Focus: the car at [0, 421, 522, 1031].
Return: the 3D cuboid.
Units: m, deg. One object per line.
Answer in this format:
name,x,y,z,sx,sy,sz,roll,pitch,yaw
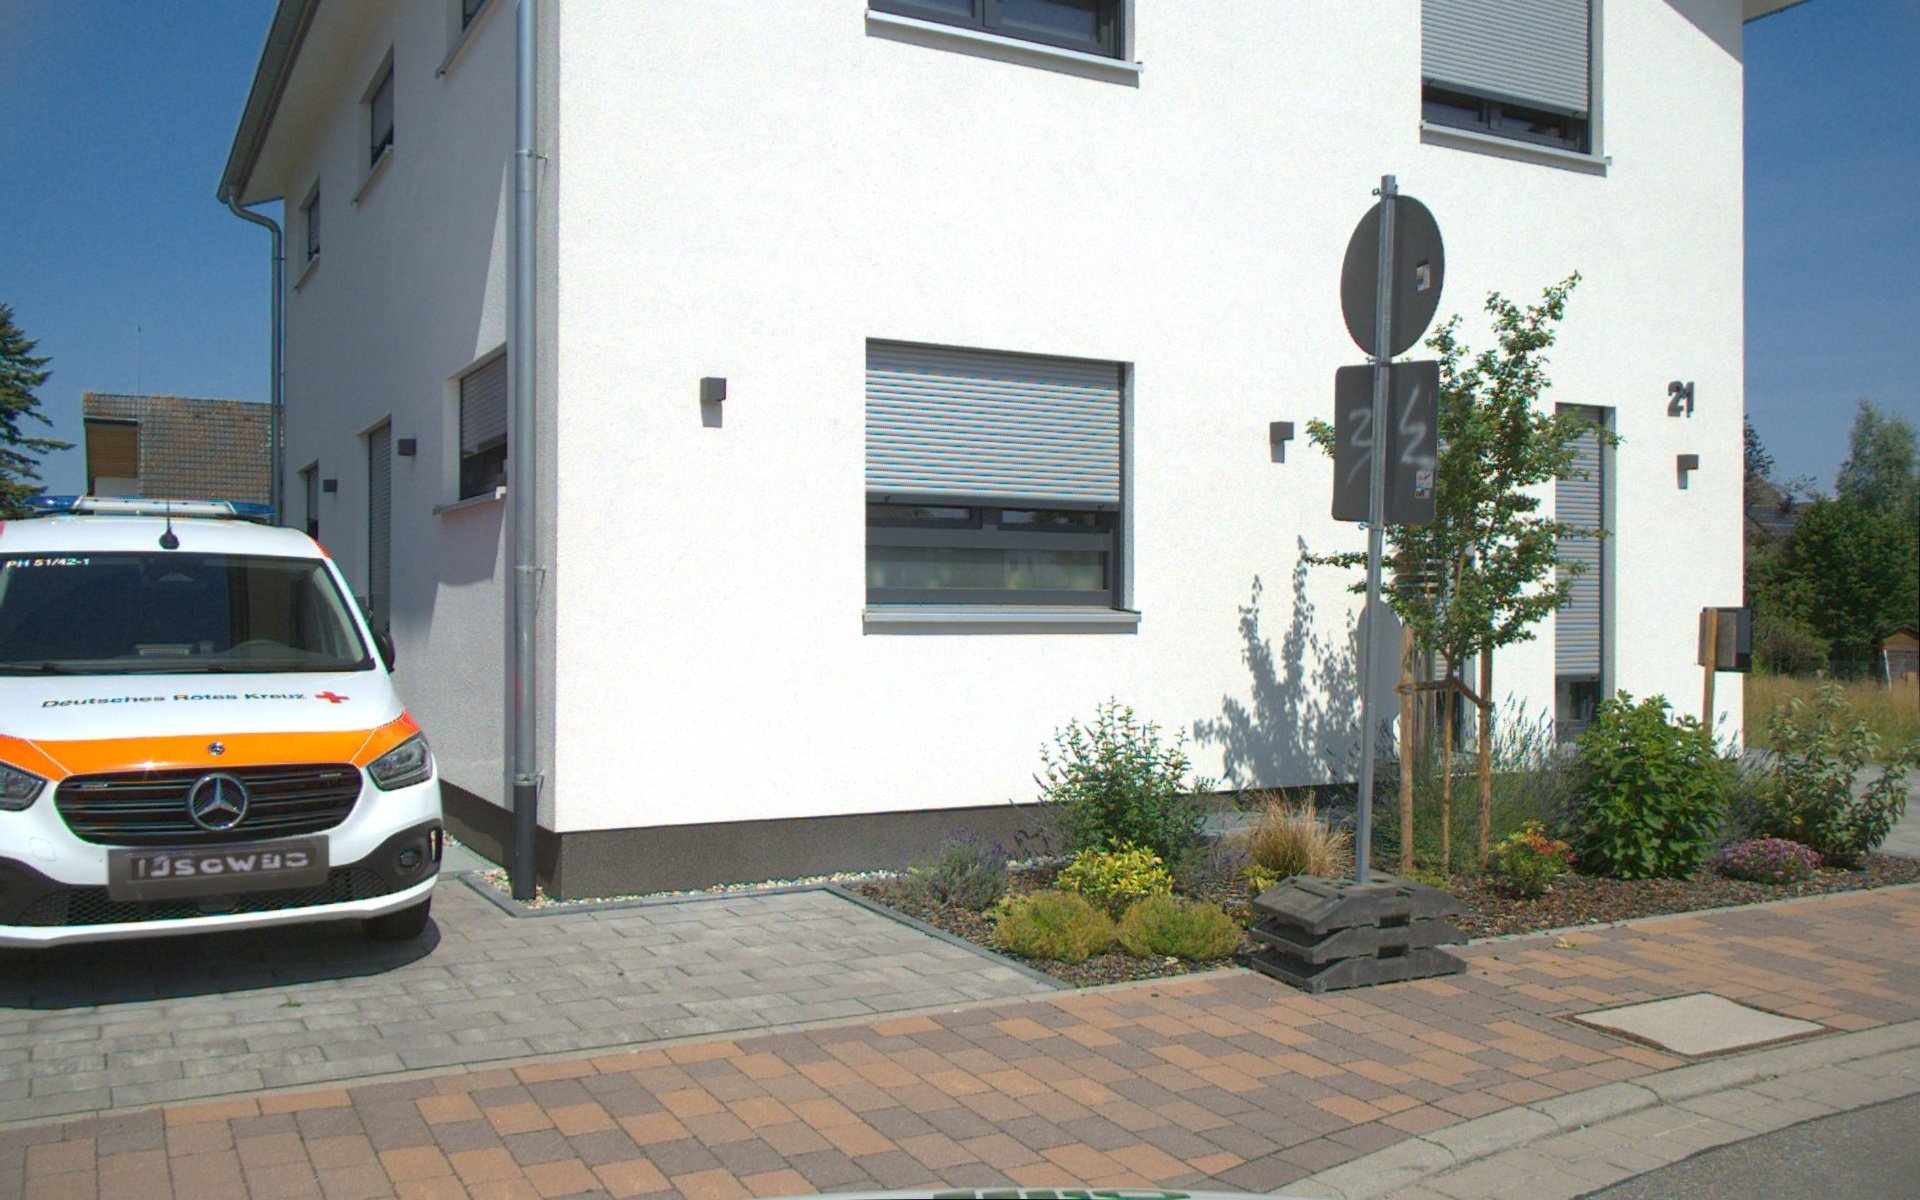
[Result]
car,-3.609,0.417,7.571,1.912,1.908,4.702,0,-1,-31
